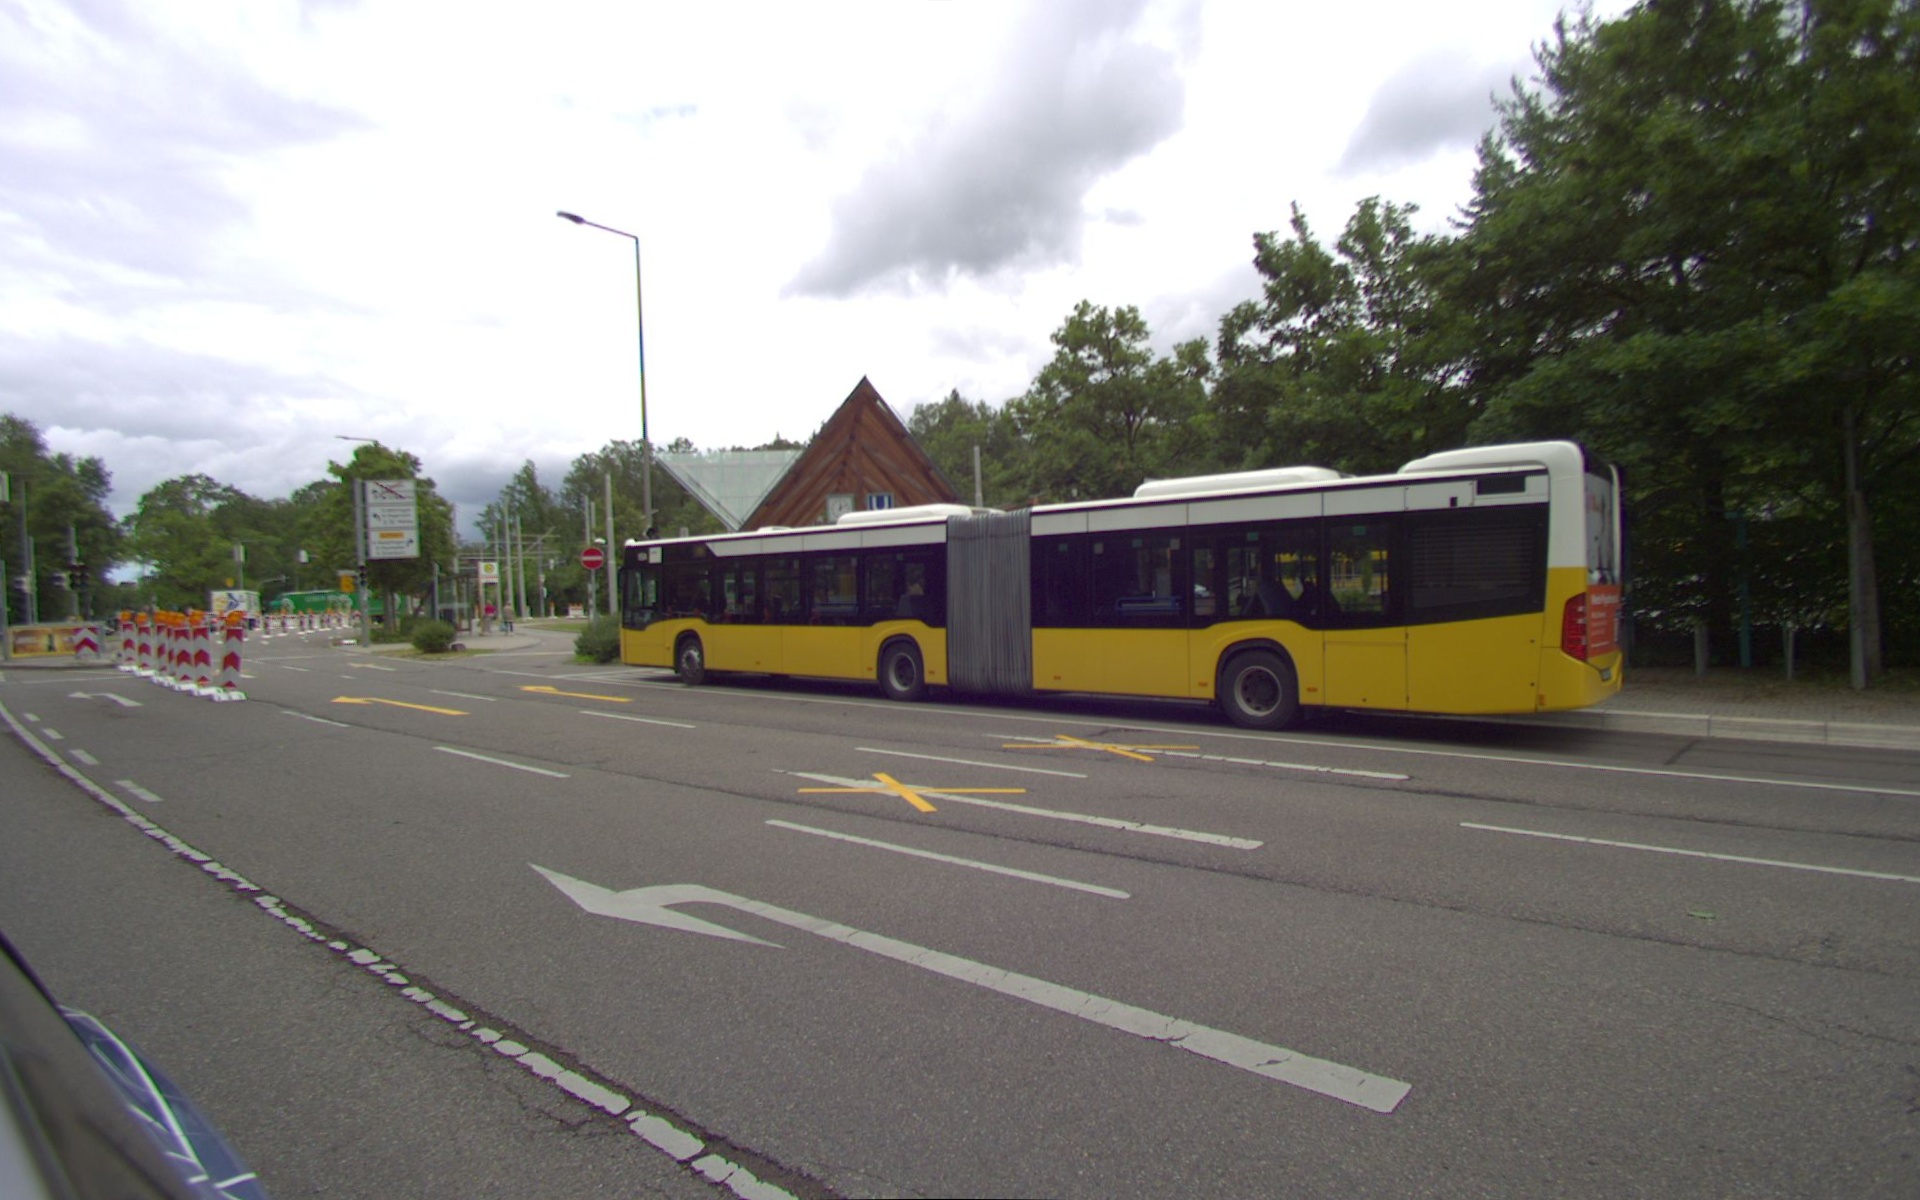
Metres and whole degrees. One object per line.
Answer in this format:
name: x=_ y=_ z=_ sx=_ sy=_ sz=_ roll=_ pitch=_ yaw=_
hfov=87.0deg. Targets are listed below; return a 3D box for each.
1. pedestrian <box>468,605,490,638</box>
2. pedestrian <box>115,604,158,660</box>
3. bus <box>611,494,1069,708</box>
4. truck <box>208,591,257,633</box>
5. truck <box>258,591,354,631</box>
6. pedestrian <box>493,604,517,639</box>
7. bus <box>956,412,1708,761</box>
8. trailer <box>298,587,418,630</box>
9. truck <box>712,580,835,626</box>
pedestrian: x=-24.255 y=1.082 z=51.075 sx=0.779 sy=1.563 sz=0.777 roll=-3 pitch=1 yaw=-38
pedestrian: x=-27.679 y=1.061 z=34.008 sx=0.980 sy=1.822 sz=0.767 roll=-3 pitch=1 yaw=-44
bus: x=-2.763 y=0.076 z=19.226 sx=9.755 sy=3.150 sz=2.868 roll=-1 pitch=-1 yaw=41
truck: x=-59.340 y=0.990 z=82.667 sx=2.592 sy=3.263 sz=6.225 roll=0 pitch=-1 yaw=-29
truck: x=-71.203 y=1.195 z=110.258 sx=8.686 sy=3.910 sz=3.772 roll=-3 pitch=1 yaw=14
pedestrian: x=-20.810 y=0.996 z=46.268 sx=0.861 sy=1.536 sz=0.770 roll=-3 pitch=1 yaw=-18
bus: x=4.146 y=-0.064 z=13.115 sx=8.690 sy=3.150 sz=2.868 roll=-1 pitch=-1 yaw=41
trailer: x=-64.563 y=0.873 z=108.614 sx=11.753 sy=3.910 sz=3.772 roll=-3 pitch=1 yaw=14
truck: x=-10.312 y=0.189 z=55.940 sx=6.263 sy=2.186 sz=2.587 roll=-3 pitch=1 yaw=24
